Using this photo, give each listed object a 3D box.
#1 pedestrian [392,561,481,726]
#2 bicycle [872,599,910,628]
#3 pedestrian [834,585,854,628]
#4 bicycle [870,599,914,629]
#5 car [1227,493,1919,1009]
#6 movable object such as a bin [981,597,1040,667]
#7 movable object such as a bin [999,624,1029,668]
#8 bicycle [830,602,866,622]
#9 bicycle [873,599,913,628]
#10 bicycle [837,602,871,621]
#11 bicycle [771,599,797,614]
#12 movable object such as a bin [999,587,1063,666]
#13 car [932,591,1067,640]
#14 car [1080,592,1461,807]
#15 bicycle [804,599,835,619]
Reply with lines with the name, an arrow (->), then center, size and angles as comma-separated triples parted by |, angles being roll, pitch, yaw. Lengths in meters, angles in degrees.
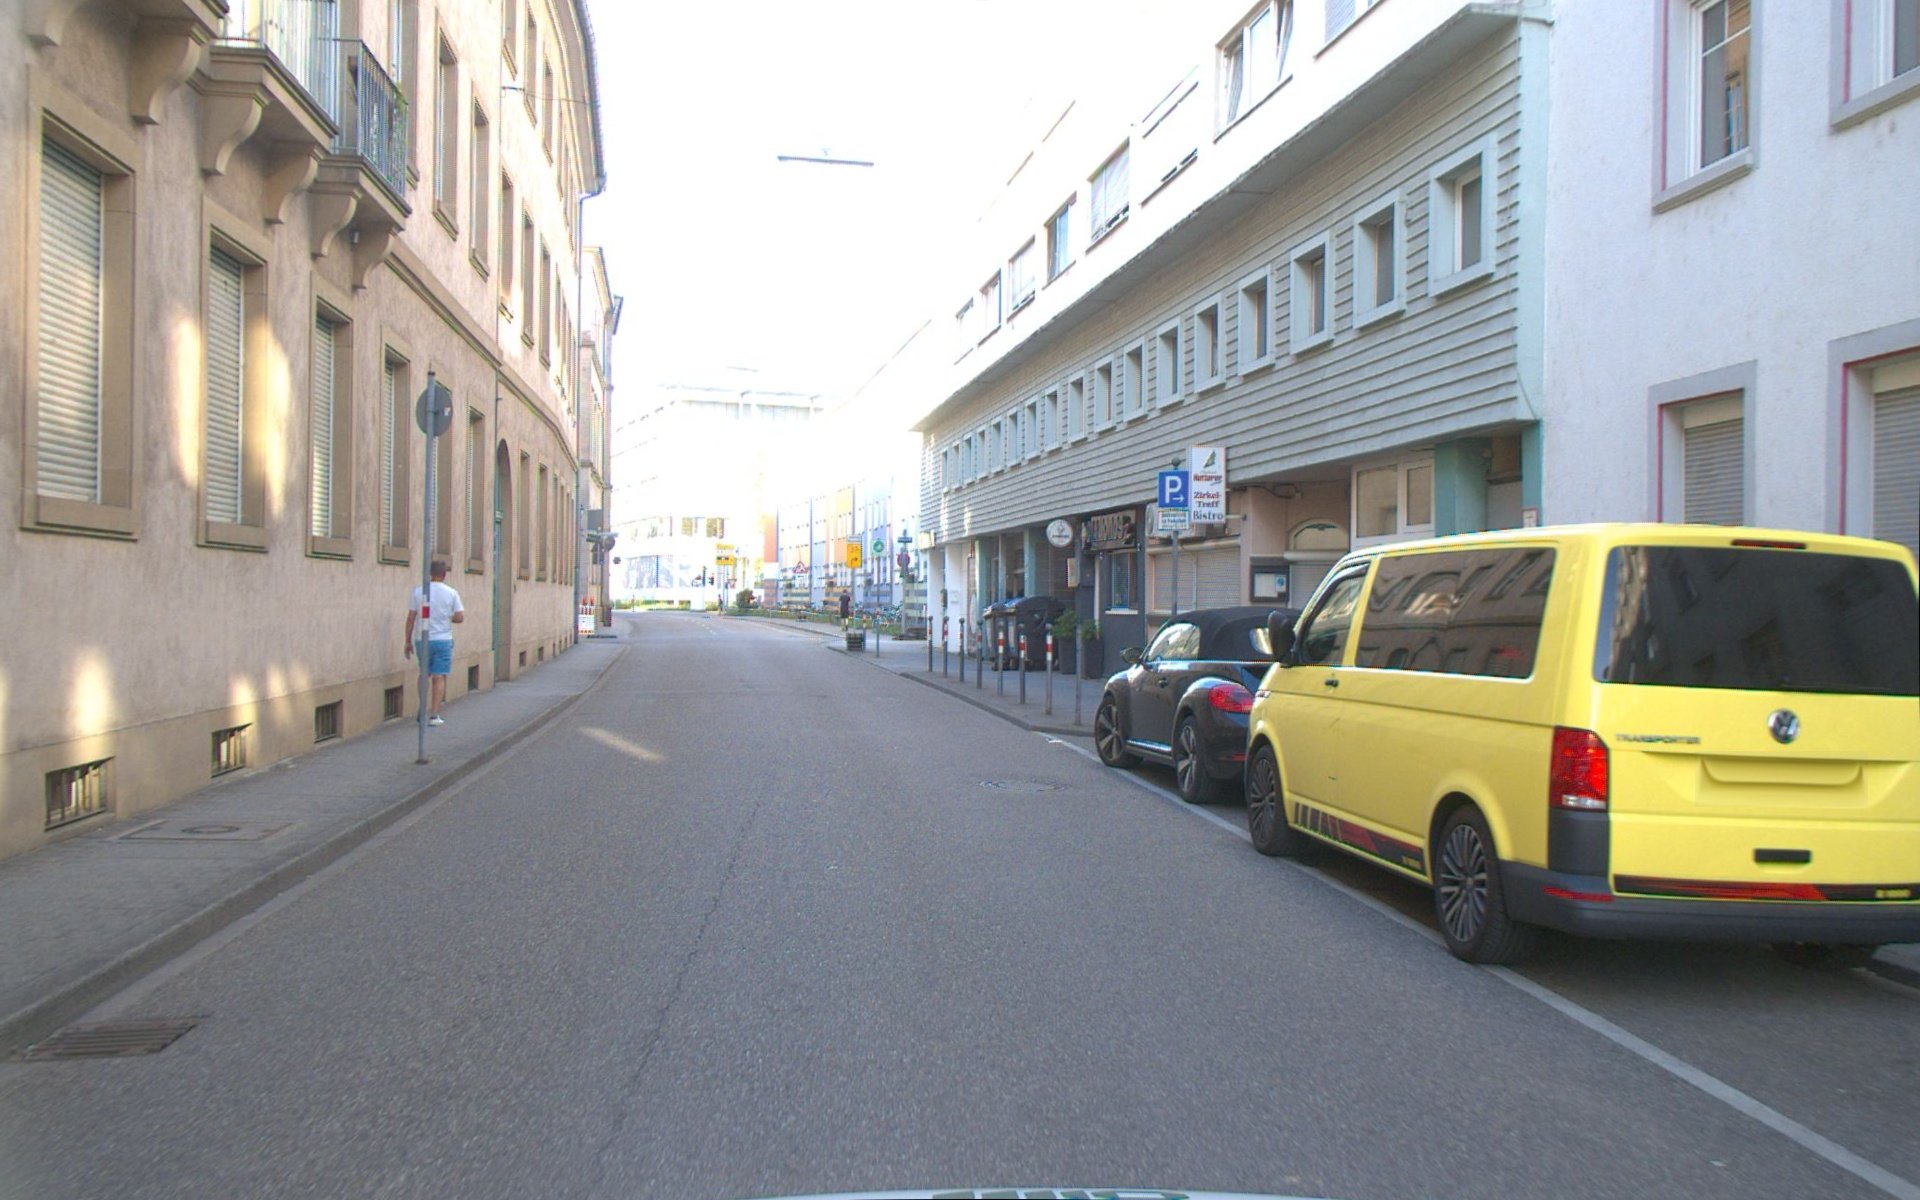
pedestrian -> -5.585, 0.456, 17.683 | 0.680, 1.699, 0.873 | 3, -1, -7
bicycle -> -2.931, 0.561, 70.101 | 1.579, 1.161, 0.236 | -3, 1, -20
pedestrian -> -5.005, 0.279, 71.172 | 0.684, 1.790, 1.185 | -2, 0, -11
bicycle -> -2.798, 0.573, 68.472 | 1.718, 1.161, 0.550 | -3, 1, -12
car -> 2.980, 0.569, 8.661 | 1.847, 1.915, 4.838 | 1, 0, -7
movable object such as a bin -> 1.041, 0.681, 34.370 | 0.963, 1.409, 1.317 | -1, -2, -9
movable object such as a bin -> 1.148, 0.980, 35.362 | 0.546, 0.915, 0.522 | -1, -2, -9
bicycle -> -5.538, 0.598, 82.035 | 1.717, 0.963, 0.550 | 0, 0, -12
bicycle -> -2.831, 0.559, 69.846 | 1.617, 1.161, 0.282 | -3, 1, -20
bicycle -> -5.371, 0.597, 83.896 | 1.717, 0.963, 0.325 | 0, -1, -11
bicycle -> -11.938, 0.429, 112.183 | 1.725, 1.021, 0.610 | -1, 0, -17
movable object such as a bin -> 1.396, 0.536, 32.840 | 0.963, 1.506, 1.548 | -1, -2, -9
car -> 1.225, 0.489, 52.747 | 4.006, 1.508, 1.860 | 0, 0, -12
car -> 2.423, 0.721, 14.144 | 1.848, 1.515, 4.359 | 1, 0, -9
bicycle -> -8.381, 0.542, 98.554 | 1.779, 1.157, 0.550 | 0, -1, -14
